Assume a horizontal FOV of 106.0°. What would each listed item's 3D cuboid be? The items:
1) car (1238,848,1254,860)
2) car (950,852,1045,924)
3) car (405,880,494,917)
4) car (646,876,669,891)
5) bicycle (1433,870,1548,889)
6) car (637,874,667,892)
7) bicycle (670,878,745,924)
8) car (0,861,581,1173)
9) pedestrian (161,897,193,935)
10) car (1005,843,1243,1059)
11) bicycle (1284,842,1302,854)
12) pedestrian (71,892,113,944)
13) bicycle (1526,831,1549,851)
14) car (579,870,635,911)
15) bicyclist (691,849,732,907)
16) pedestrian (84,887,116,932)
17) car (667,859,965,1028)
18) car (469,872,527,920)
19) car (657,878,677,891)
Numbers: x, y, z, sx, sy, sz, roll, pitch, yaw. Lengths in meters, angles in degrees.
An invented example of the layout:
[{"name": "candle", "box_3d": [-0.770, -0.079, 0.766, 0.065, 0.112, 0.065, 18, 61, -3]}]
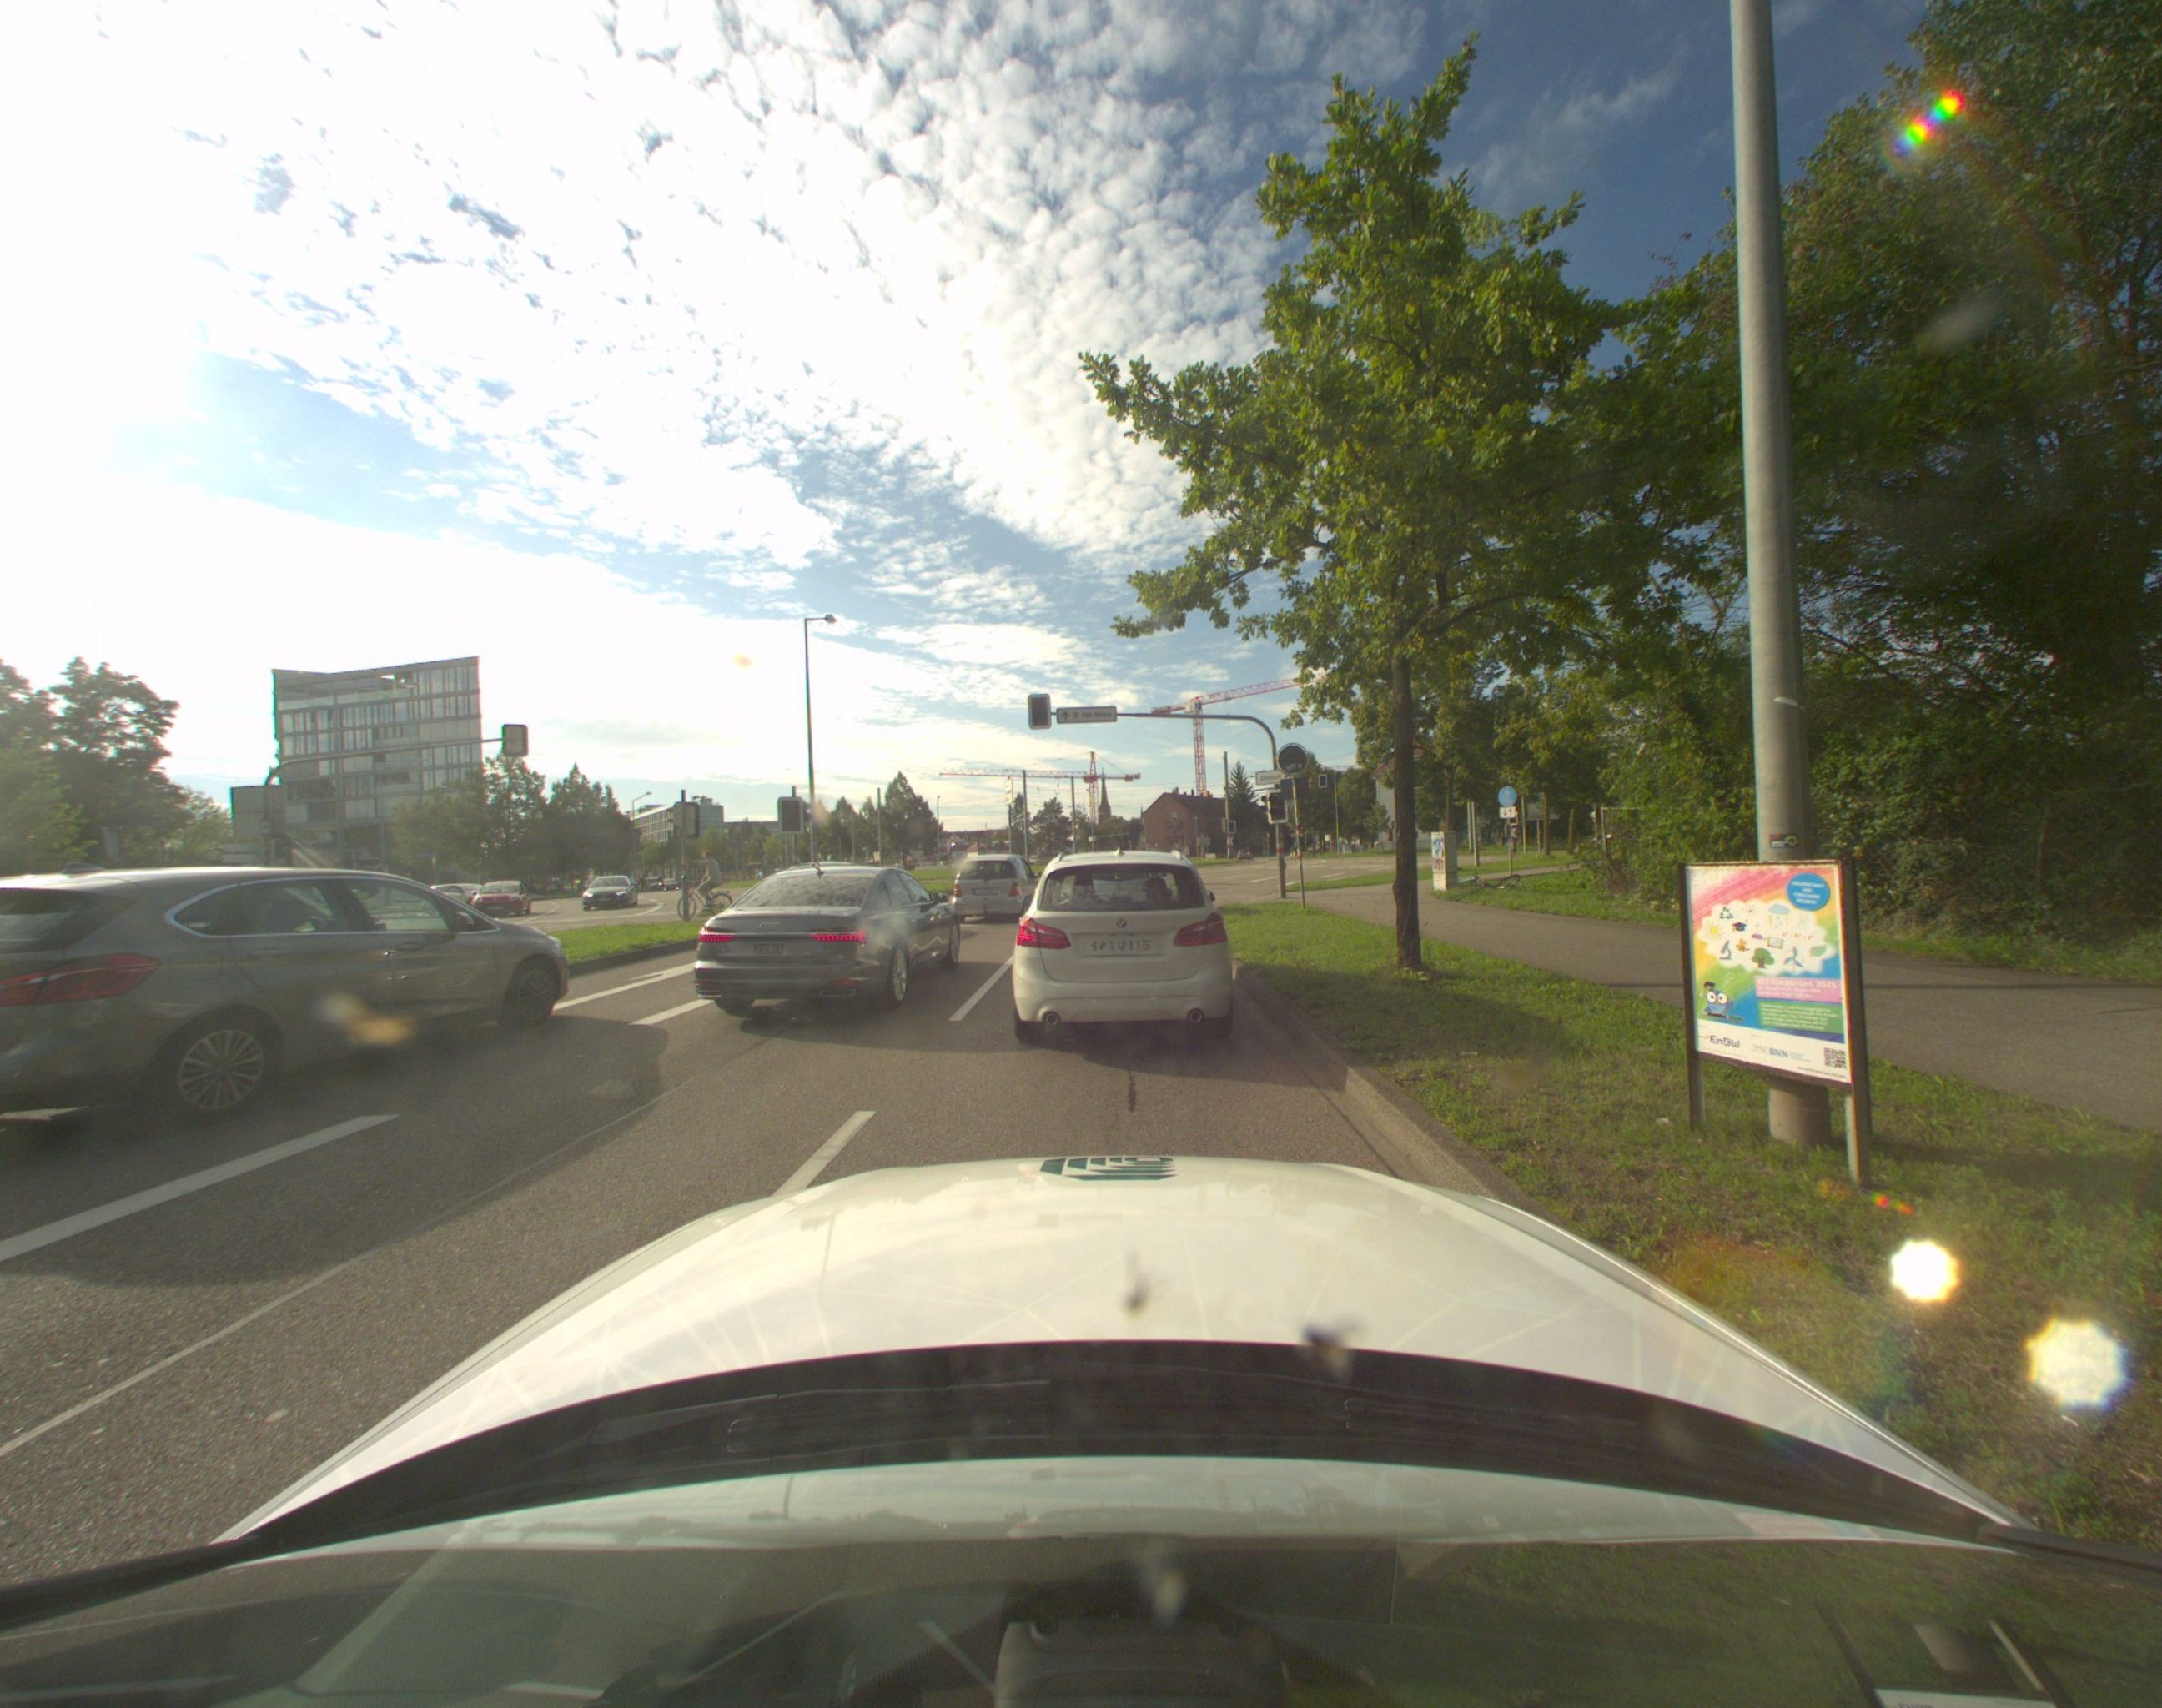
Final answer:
[{"name": "car", "box_3d": [23.162, 0.018, 114.336, 1.555, 1.574, 3.217, -3, 1, 24]}, {"name": "car", "box_3d": [-1.920, 0.748, 19.870, 1.722, 1.558, 4.060, -1, 0, 2]}, {"name": "car", "box_3d": [-32.343, 2.273, 41.729, 3.468, 1.592, 1.598, -4, 0, 10]}, {"name": "car", "box_3d": [-52.523, 3.654, 100.952, 1.722, 1.691, 3.953, -2, 0, -40]}, {"name": "bicycle", "box_3d": [10.463, 0.637, 20.972, 1.407, 0.385, 2.568, -3, 0, -9]}, {"name": "car", "box_3d": [-42.673, 2.863, 81.158, 1.790, 1.575, 3.978, -3, 0, -16]}, {"name": "bicycle", "box_3d": [-10.159, 1.265, 22.191, 1.728, 1.163, 0.652, -2, -1, -15]}, {"name": "car", "box_3d": [-5.969, 0.865, 6.174, 1.722, 1.558, 4.021, -1, 0, 2]}, {"name": "pedestrian", "box_3d": [-39.095, 2.674, 35.234, 0.652, 1.569, 0.616, -3, -1, 4]}, {"name": "car", "box_3d": [0.375, 0.718, 8.032, 1.723, 1.558, 4.059, -1, 0, 2]}, {"name": "bicycle", "box_3d": [26.981, -0.759, 103.669, 0.898, 1.530, 2.268, 0, -2, -28]}, {"name": "pedestrian", "box_3d": [-30.899, 2.001, 25.456, 0.594, 1.581, 0.575, 3, -2, -28]}, {"name": "bicycle", "box_3d": [39.628, -1.115, 70.662, 1.036, 1.662, 2.504, 0, 0, 12]}, {"name": "car", "box_3d": [-20.760, 1.560, 35.781, 1.715, 1.573, 3.966, -4, 1, -25]}, {"name": "bicyclist", "box_3d": [-10.069, 0.643, 22.226, 0.850, 1.526, 0.737, -3, -1, -15]}, {"name": "pedestrian", "box_3d": [-46.034, 2.585, 38.223, 0.923, 2.013, 0.887, -3, -1, 40]}, {"name": "car", "box_3d": [-2.721, 0.828, 9.648, 1.883, 1.483, 4.614, -1, -1, 2]}, {"name": "car", "box_3d": [-23.975, 1.671, 33.422, 1.720, 1.769, 3.954, -2, 0, -38]}, {"name": "car", "box_3d": [-46.483, 3.437, 91.449, 1.598, 1.415, 3.644, -1, -3, -20]}]
